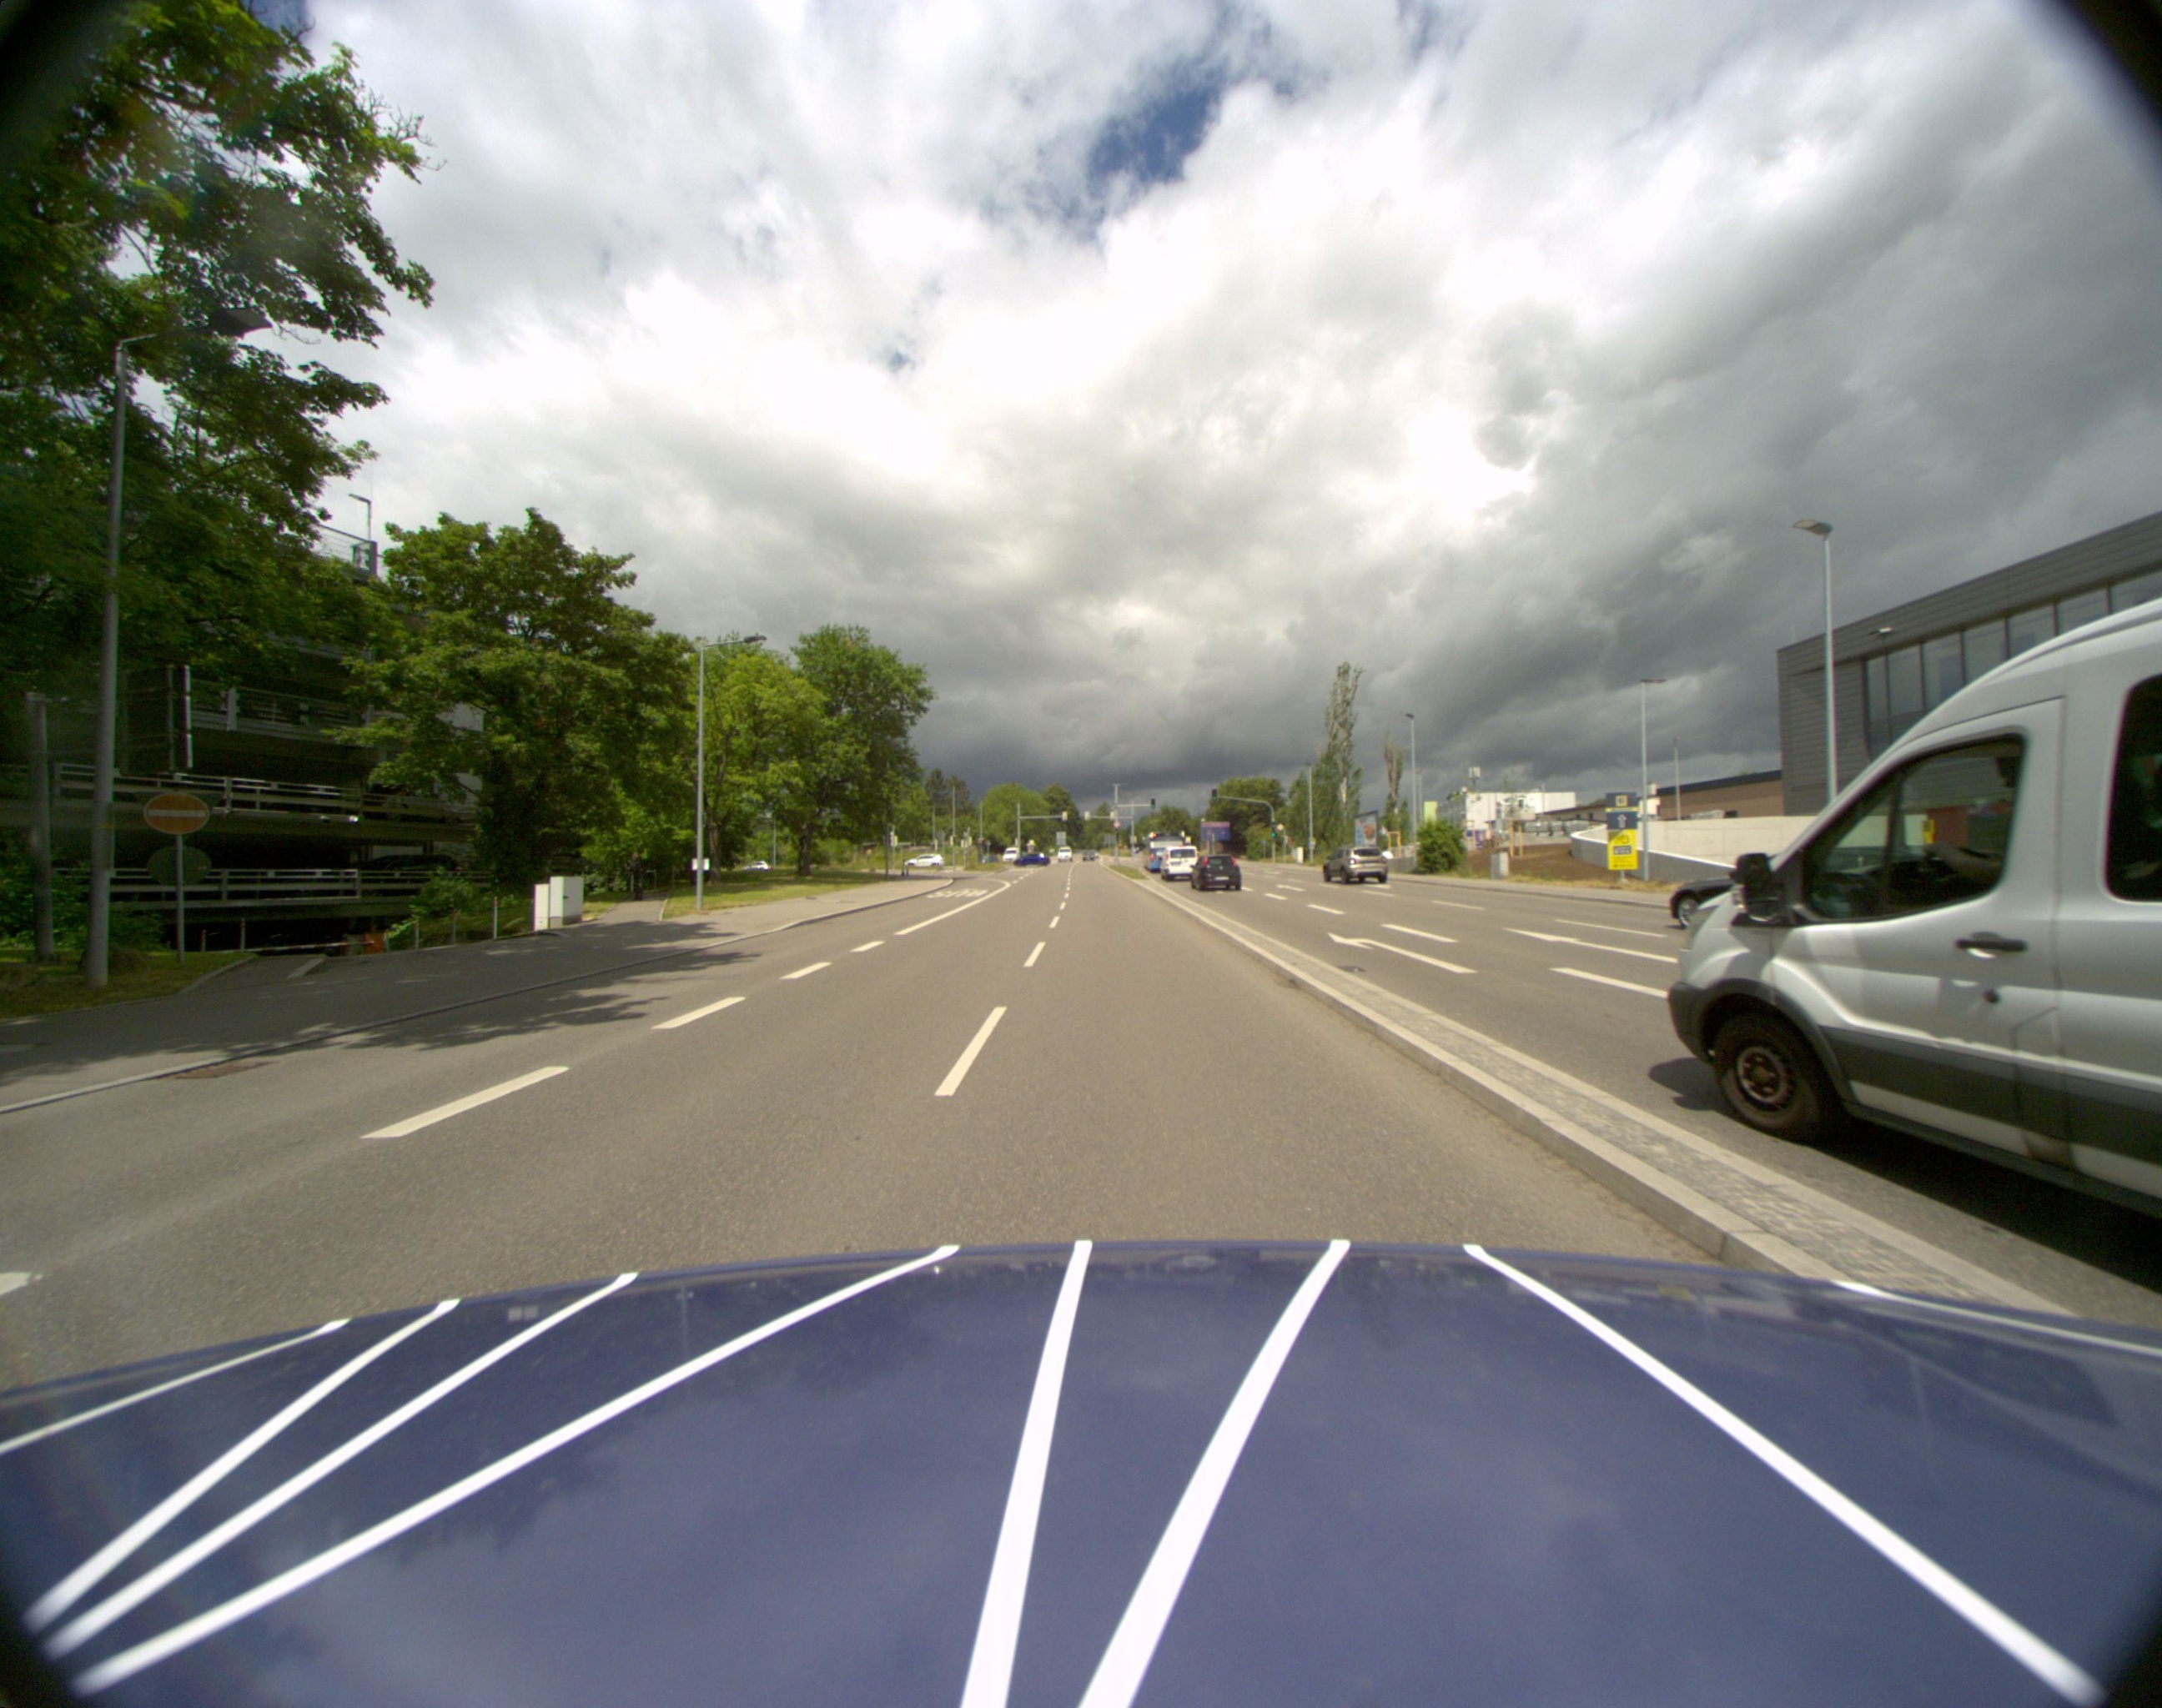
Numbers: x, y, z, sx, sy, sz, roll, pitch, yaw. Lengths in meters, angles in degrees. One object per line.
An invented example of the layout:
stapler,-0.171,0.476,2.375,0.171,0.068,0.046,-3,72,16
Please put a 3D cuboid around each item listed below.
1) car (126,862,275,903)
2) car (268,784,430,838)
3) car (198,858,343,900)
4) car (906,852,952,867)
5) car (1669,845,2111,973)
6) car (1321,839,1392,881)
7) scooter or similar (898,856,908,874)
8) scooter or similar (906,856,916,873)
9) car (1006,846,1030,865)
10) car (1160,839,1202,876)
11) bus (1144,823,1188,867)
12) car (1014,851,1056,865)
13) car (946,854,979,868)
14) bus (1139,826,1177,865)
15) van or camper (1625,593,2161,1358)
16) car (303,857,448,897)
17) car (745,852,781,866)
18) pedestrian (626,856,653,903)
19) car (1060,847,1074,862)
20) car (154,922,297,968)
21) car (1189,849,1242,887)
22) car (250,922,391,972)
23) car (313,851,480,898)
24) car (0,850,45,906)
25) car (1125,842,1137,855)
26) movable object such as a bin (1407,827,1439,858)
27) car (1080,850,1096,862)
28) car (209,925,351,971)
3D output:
car,-36.713,1.147,31.792,1.766,1.515,3.628,-1,0,19
car,-28.109,-1.593,29.345,1.932,1.783,4.006,-2,0,20
car,-32.705,0.974,30.777,1.629,1.515,3.629,-1,0,21
car,-17.470,0.610,87.445,4.898,1.649,1.733,-1,0,-2
car,11.210,0.614,11.161,1.734,1.448,4.558,-1,1,2
car,12.116,0.205,33.679,1.734,1.703,4.271,-1,1,2
scooter or similar,-13.245,0.820,56.545,0.534,1.256,1.188,1,0,-22
scooter or similar,-12.962,0.813,57.959,0.534,1.256,1.188,1,0,-22
car,-8.976,0.192,108.462,2.162,2.635,5.828,-1,0,7
car,5.554,0.198,42.851,1.881,1.913,4.751,-1,0,2
bus,6.581,-0.657,60.187,2.822,3.145,8.909,-1,0,3
car,-5.215,0.492,86.567,4.390,1.502,1.812,-1,0,13
car,-15.368,0.932,98.856,1.906,1.627,4.455,-1,1,27
bus,6.966,-0.766,69.706,2.822,3.266,10.120,-1,1,3
van or camper,4.340,0.373,1.610,2.013,2.387,6.399,-1,0,2
car,-27.738,0.908,30.024,1.773,1.463,3.805,-2,-2,21
car,-36.259,0.531,86.666,3.524,1.451,1.585,-1,-3,-10
pedestrian,-16.418,0.952,28.251,0.776,1.707,0.589,2,-5,-38
car,-2.000,0.030,107.733,1.909,1.926,4.969,-1,1,-1
car,-36.450,3.831,32.489,1.766,1.515,3.628,-1,0,19
car,5.504,0.555,31.479,1.641,1.462,3.776,-1,0,2
car,-30.338,3.680,30.453,1.577,1.515,3.629,-1,0,21
car,-25.801,0.720,28.865,1.653,1.586,4.398,-1,1,21
car,-29.550,0.621,18.895,1.773,1.463,4.147,-2,-2,21
car,9.143,-0.951,139.864,1.998,2.000,4.003,-1,-4,0
movable object such as a bin,28.453,-0.958,63.247,2.148,2.523,3.419,0,1,20
car,0.979,0.261,108.981,1.910,1.626,4.969,-1,1,-2
car,-32.706,3.790,31.142,1.584,1.404,3.629,-1,0,21
